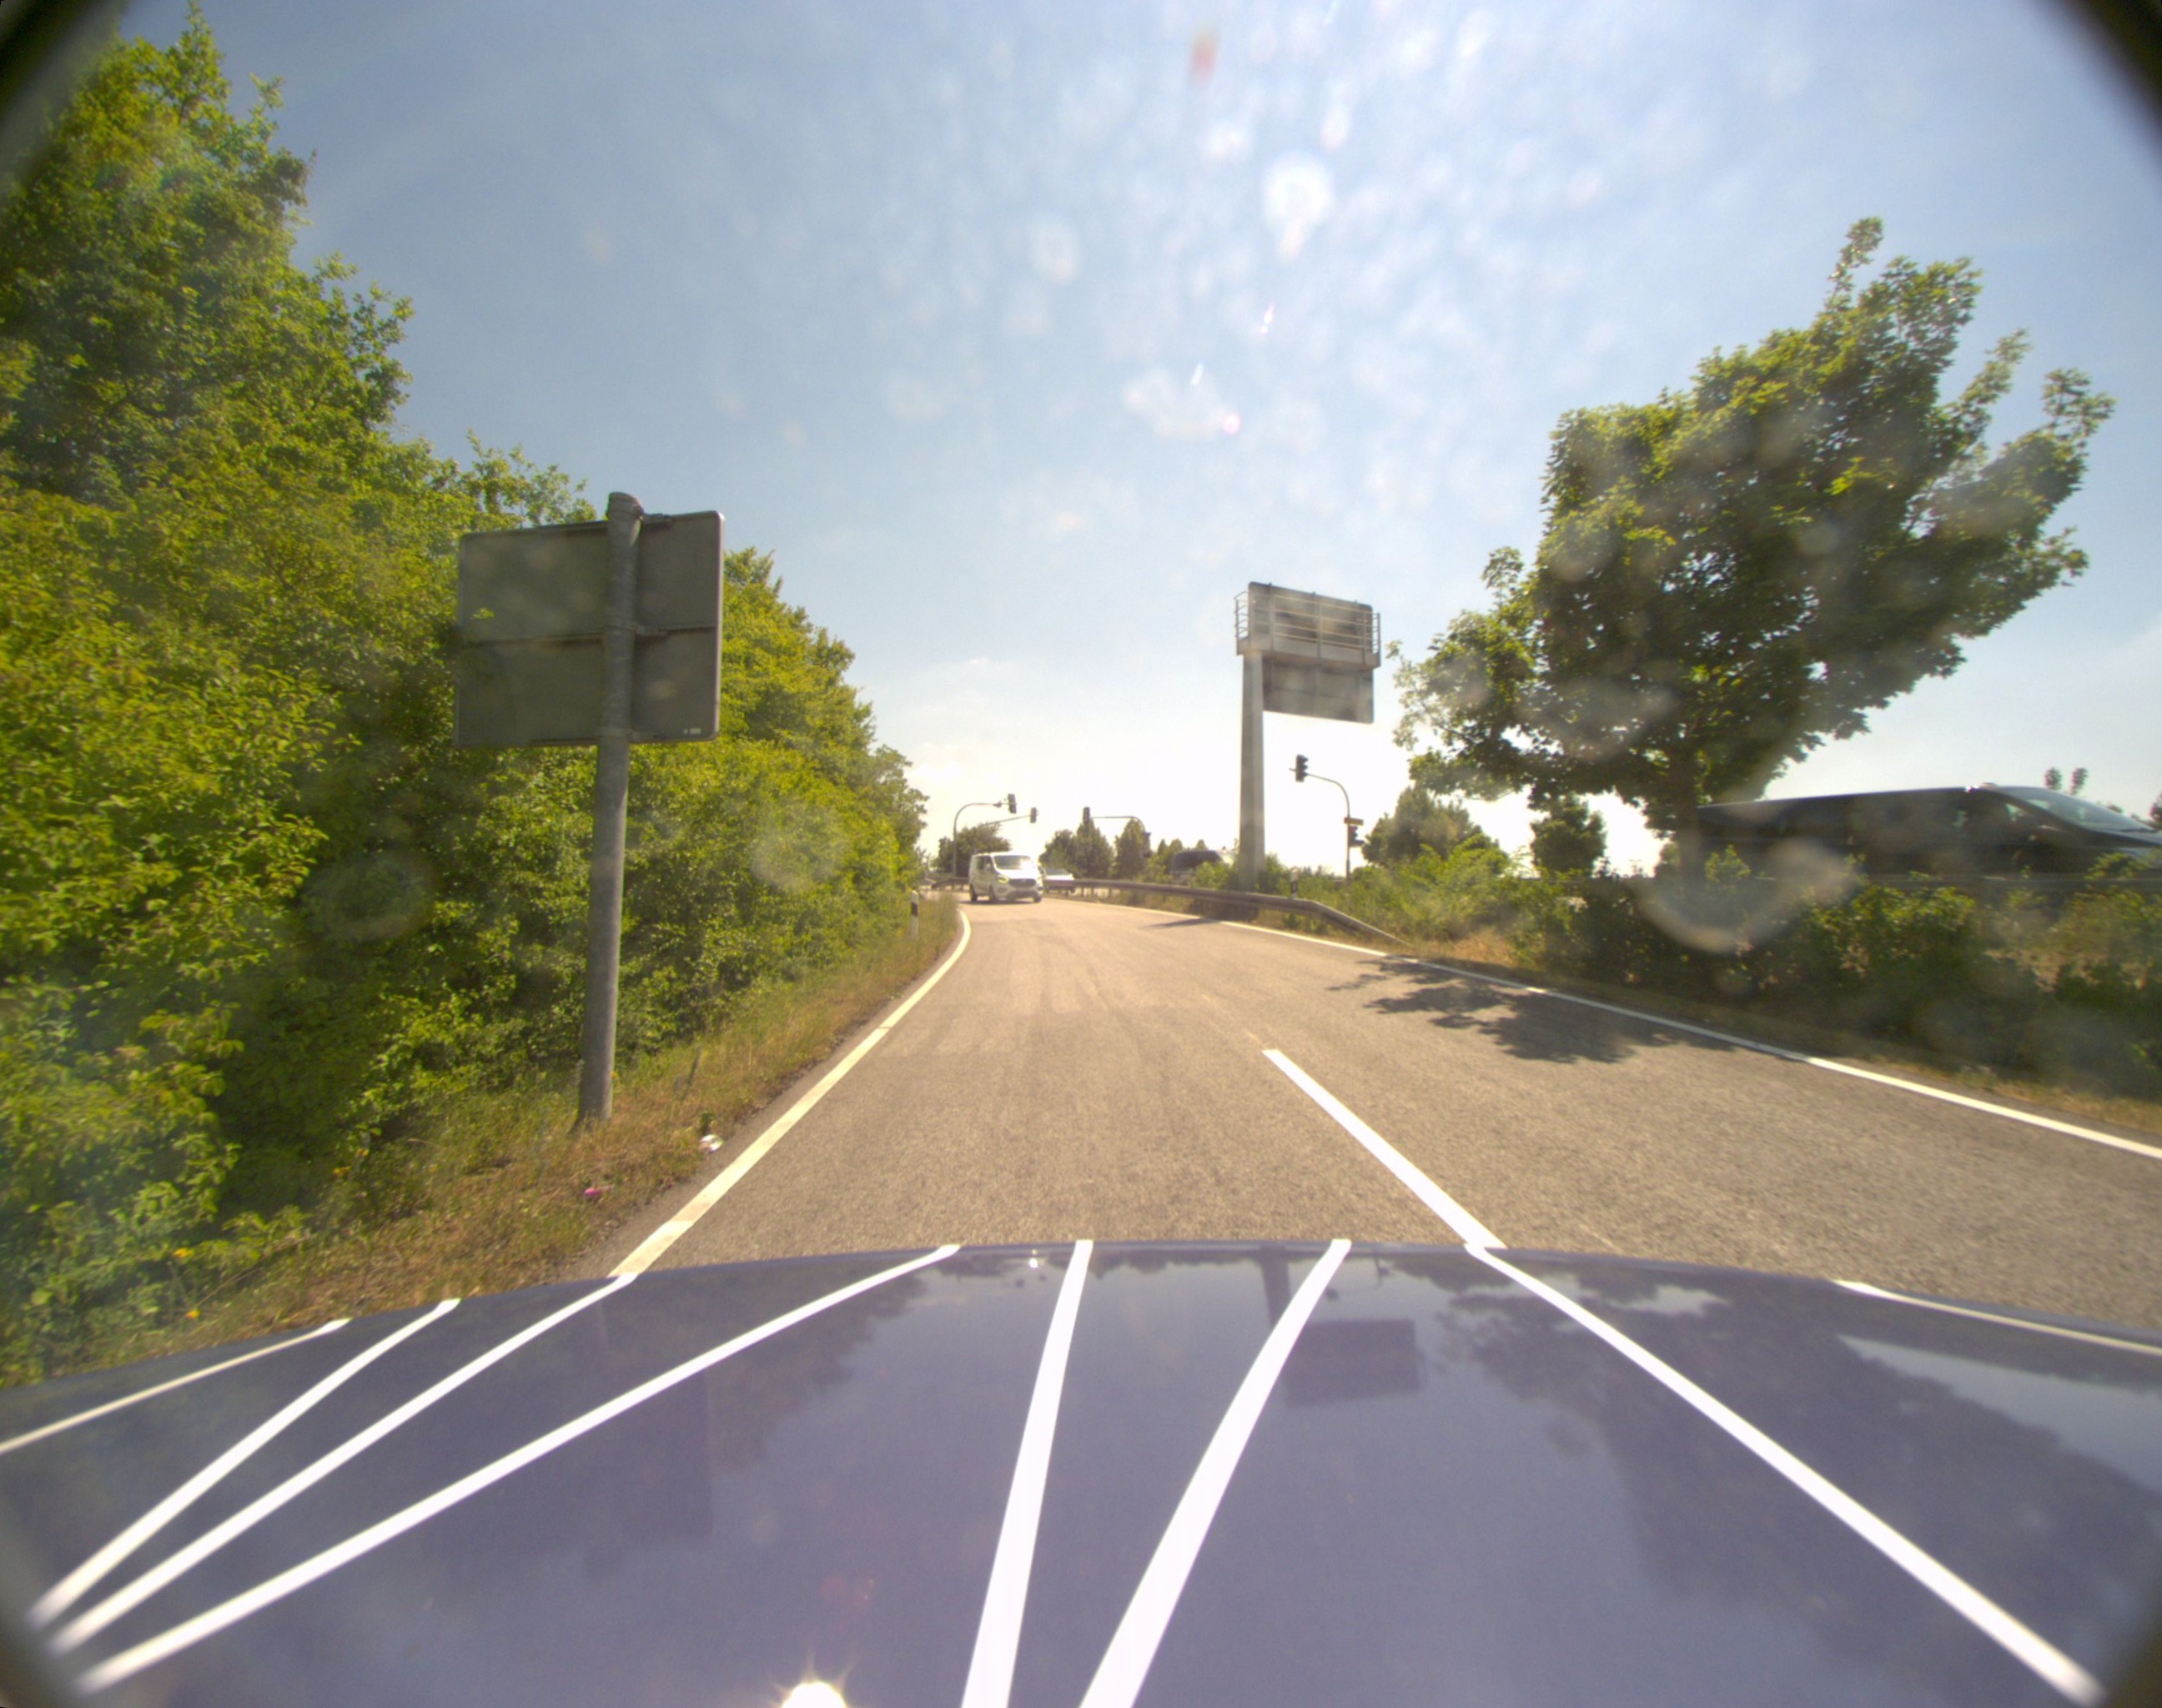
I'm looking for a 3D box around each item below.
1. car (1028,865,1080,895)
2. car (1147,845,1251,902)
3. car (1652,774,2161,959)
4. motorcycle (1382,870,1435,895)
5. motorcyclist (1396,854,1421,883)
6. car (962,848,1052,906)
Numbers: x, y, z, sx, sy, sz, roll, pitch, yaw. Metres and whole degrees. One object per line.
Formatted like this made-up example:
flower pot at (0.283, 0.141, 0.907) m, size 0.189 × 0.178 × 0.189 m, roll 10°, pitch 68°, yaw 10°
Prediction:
car at (-1.616, 1.470, 44.052) m, size 1.792 × 1.542 × 3.854 m, roll -3°, pitch 1°, yaw -22°
car at (4.322, 0.735, 28.605) m, size 1.947 × 1.907 × 4.526 m, roll 3°, pitch -2°, yaw -19°
car at (11.501, 0.094, 10.596) m, size 2.127 × 1.926 × 5.403 m, roll -3°, pitch 1°, yaw -17°
motorcycle at (14.595, 1.267, 33.889) m, size 0.565 × 1.073 × 2.279 m, roll 2°, pitch -2°, yaw -30°
motorcyclist at (14.609, 0.652, 33.909) m, size 0.678 × 1.294 × 0.722 m, roll 3°, pitch -2°, yaw -30°
car at (-3.178, 0.857, 31.183) m, size 2.034 × 2.072 × 5.861 m, roll -2°, pitch 1°, yaw -22°
